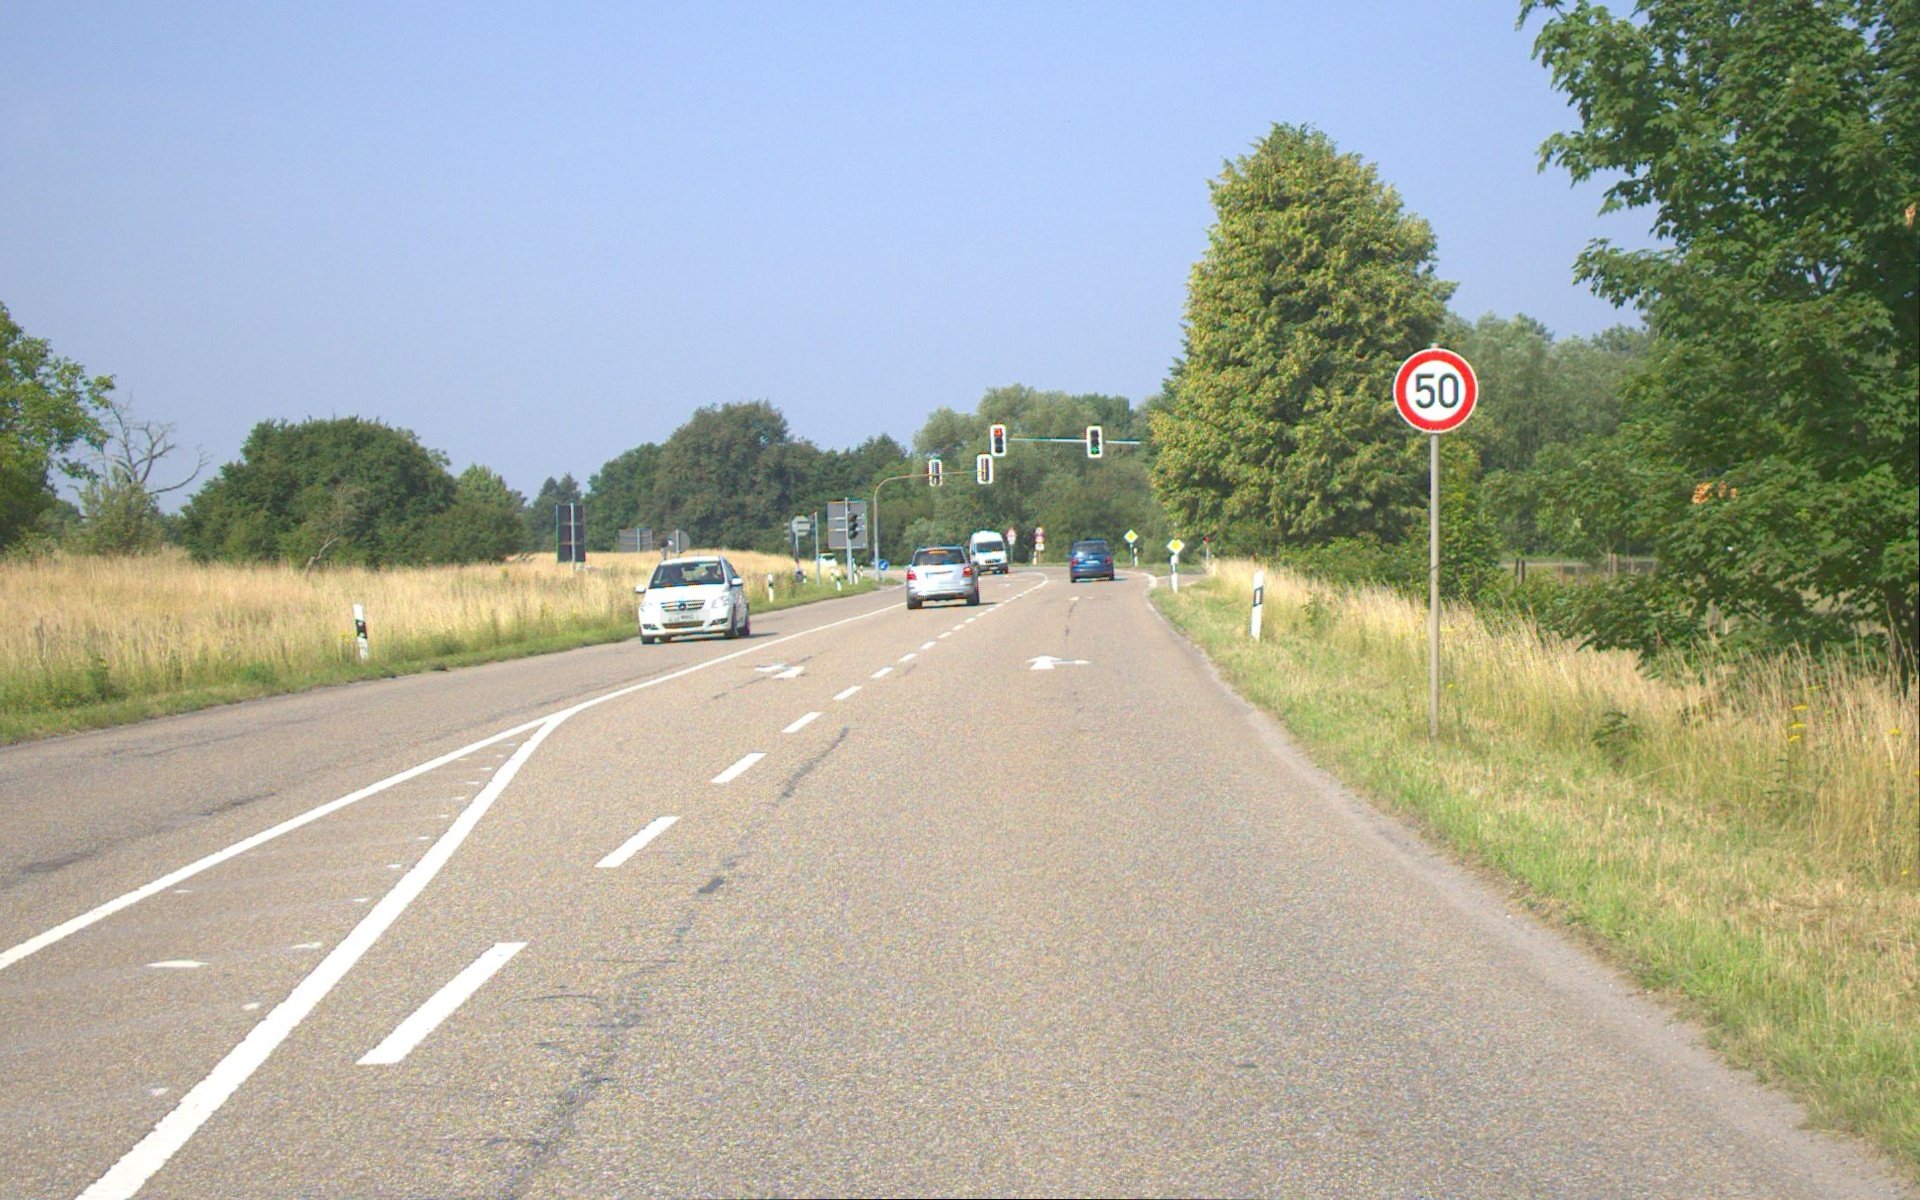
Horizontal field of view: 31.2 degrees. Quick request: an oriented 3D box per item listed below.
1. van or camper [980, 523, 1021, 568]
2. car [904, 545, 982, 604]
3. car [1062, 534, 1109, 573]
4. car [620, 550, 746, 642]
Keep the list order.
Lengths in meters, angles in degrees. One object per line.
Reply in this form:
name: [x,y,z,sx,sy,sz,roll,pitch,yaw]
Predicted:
van or camper: [2.536,-3.402,215.494,2.265,2.700,5.262,1,1,3]
car: [-0.432,-0.703,91.901,1.899,1.506,4.000,1,1,2]
car: [5.073,-1.891,138.265,1.816,1.515,4.000,-1,1,3]
car: [-5.188,-0.103,64.936,1.812,1.579,4.224,-2,1,2]
